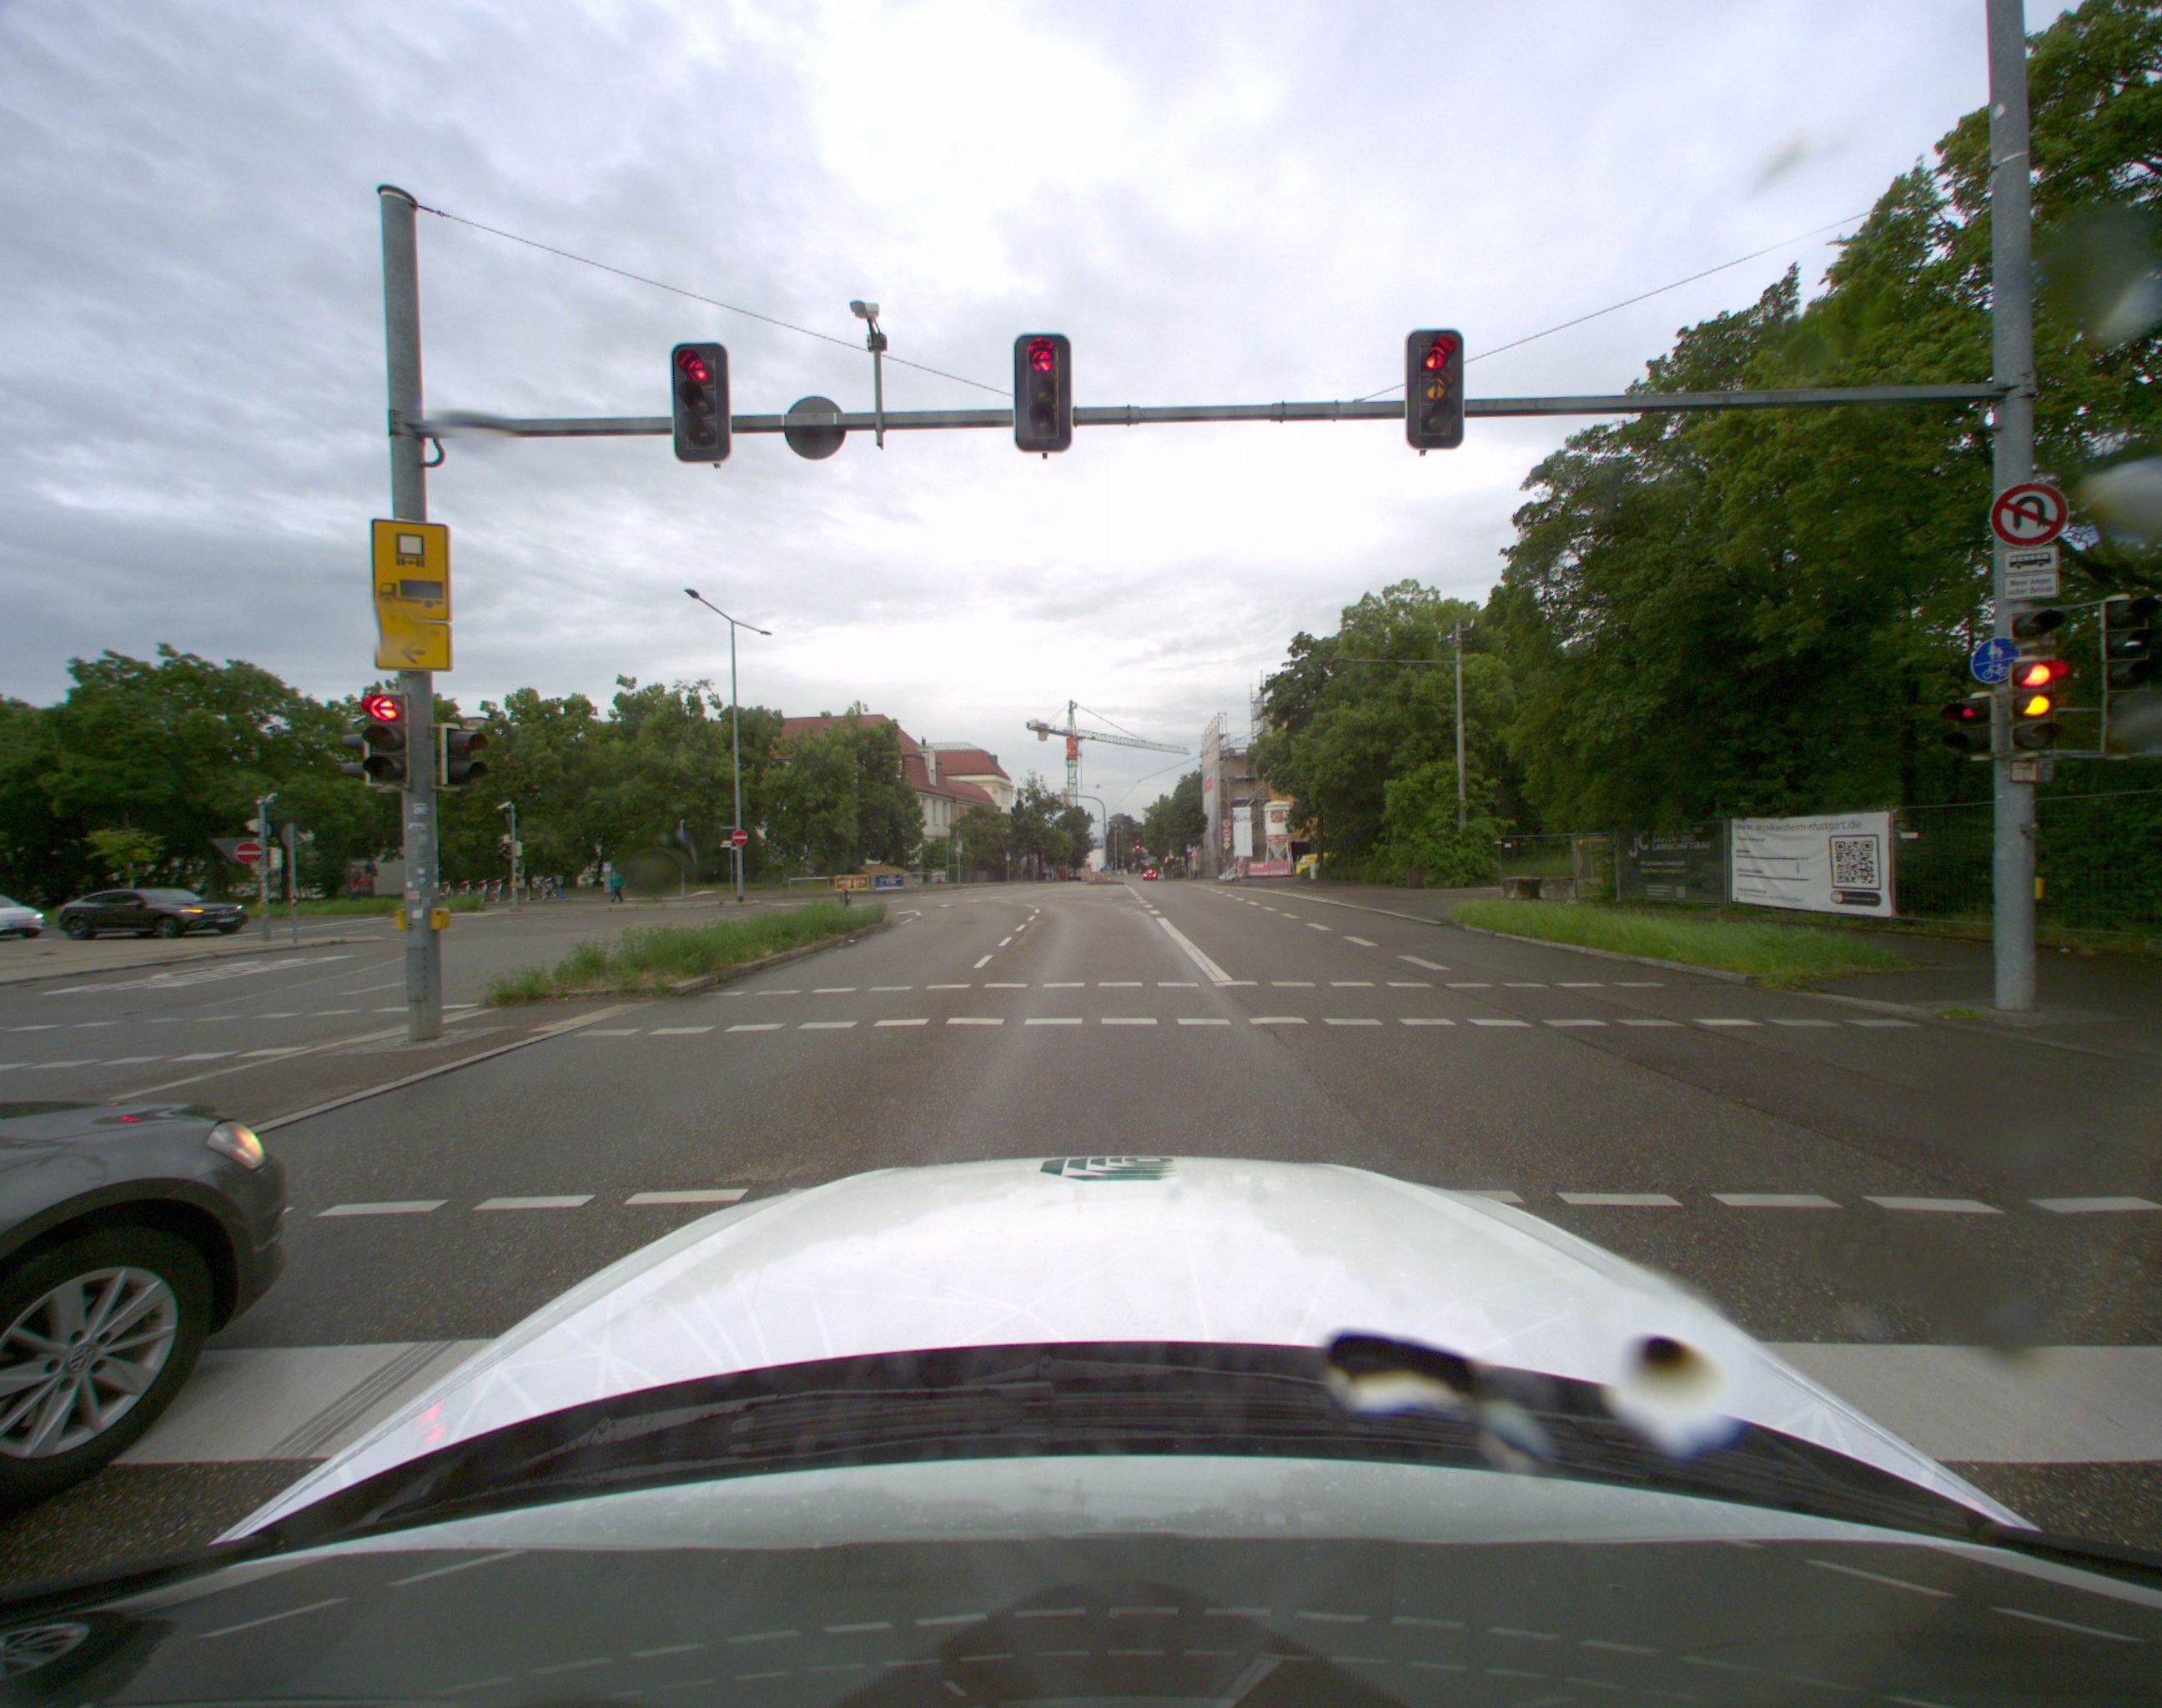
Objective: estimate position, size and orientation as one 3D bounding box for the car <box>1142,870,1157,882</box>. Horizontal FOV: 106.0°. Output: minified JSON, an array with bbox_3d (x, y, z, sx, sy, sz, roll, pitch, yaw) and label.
[{"bbox_3d":[10.504,3.386,124.934,1.986,1.750,4.001,-2,0,1],"label":"car"}]

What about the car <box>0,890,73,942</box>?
[{"bbox_3d":[-36.494,2.037,27.043,3.539,1.594,2.001,0,-1,1],"label":"car"}]

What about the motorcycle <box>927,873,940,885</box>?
[{"bbox_3d":[-11.735,1.981,64.909,0.846,0.877,0.877,0,-1,1],"label":"motorcycle"}]

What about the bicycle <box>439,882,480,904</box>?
[{"bbox_3d":[-33.906,2.115,44.443,0.649,1.071,1.982,0,-1,2],"label":"bicycle"}]

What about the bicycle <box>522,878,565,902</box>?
[{"bbox_3d":[-29.434,1.940,44.609,0.987,1.249,1.982,0,-1,2],"label":"bicycle"}]

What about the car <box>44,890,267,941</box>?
[{"bbox_3d":[-30.073,1.985,26.579,5.006,1.500,2.001,0,-1,1],"label":"car"}]

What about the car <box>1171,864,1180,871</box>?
[{"bbox_3d":[25.453,3.506,218.946,1.980,1.750,4.014,-2,0,13],"label":"car"}]

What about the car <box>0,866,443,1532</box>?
[{"bbox_3d":[-3.378,0.802,0.872,1.809,1.481,4.378,-2,0,2],"label":"car"}]

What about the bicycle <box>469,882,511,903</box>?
[{"bbox_3d":[-32.267,2.068,44.500,0.798,1.071,1.982,0,-1,2],"label":"bicycle"}]

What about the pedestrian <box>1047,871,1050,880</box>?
[{"bbox_3d":[-4.823,3.165,120.999,0.473,1.396,0.411,-2,0,1],"label":"pedestrian"}]

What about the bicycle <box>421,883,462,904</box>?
[{"bbox_3d":[-34.985,2.143,44.574,0.649,1.071,1.982,0,-1,2],"label":"bicycle"}]

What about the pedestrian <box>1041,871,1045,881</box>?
[{"bbox_3d":[-5.648,3.272,121.001,0.473,1.396,0.411,-2,-1,1],"label":"pedestrian"}]

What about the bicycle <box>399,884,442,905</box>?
[{"bbox_3d":[-35.962,2.179,44.359,0.649,1.071,1.982,0,-1,2],"label":"bicycle"}]

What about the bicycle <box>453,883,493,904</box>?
[{"bbox_3d":[-33.016,2.119,44.268,0.649,1.071,1.982,0,-1,2],"label":"bicycle"}]

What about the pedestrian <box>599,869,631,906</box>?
[{"bbox_3d":[-22.541,1.608,39.419,0.917,1.727,0.948,-1,-1,9],"label":"pedestrian"}]

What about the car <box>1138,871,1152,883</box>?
[{"bbox_3d":[10.197,3.659,130.809,1.986,1.750,4.001,-2,0,1],"label":"car"}]
